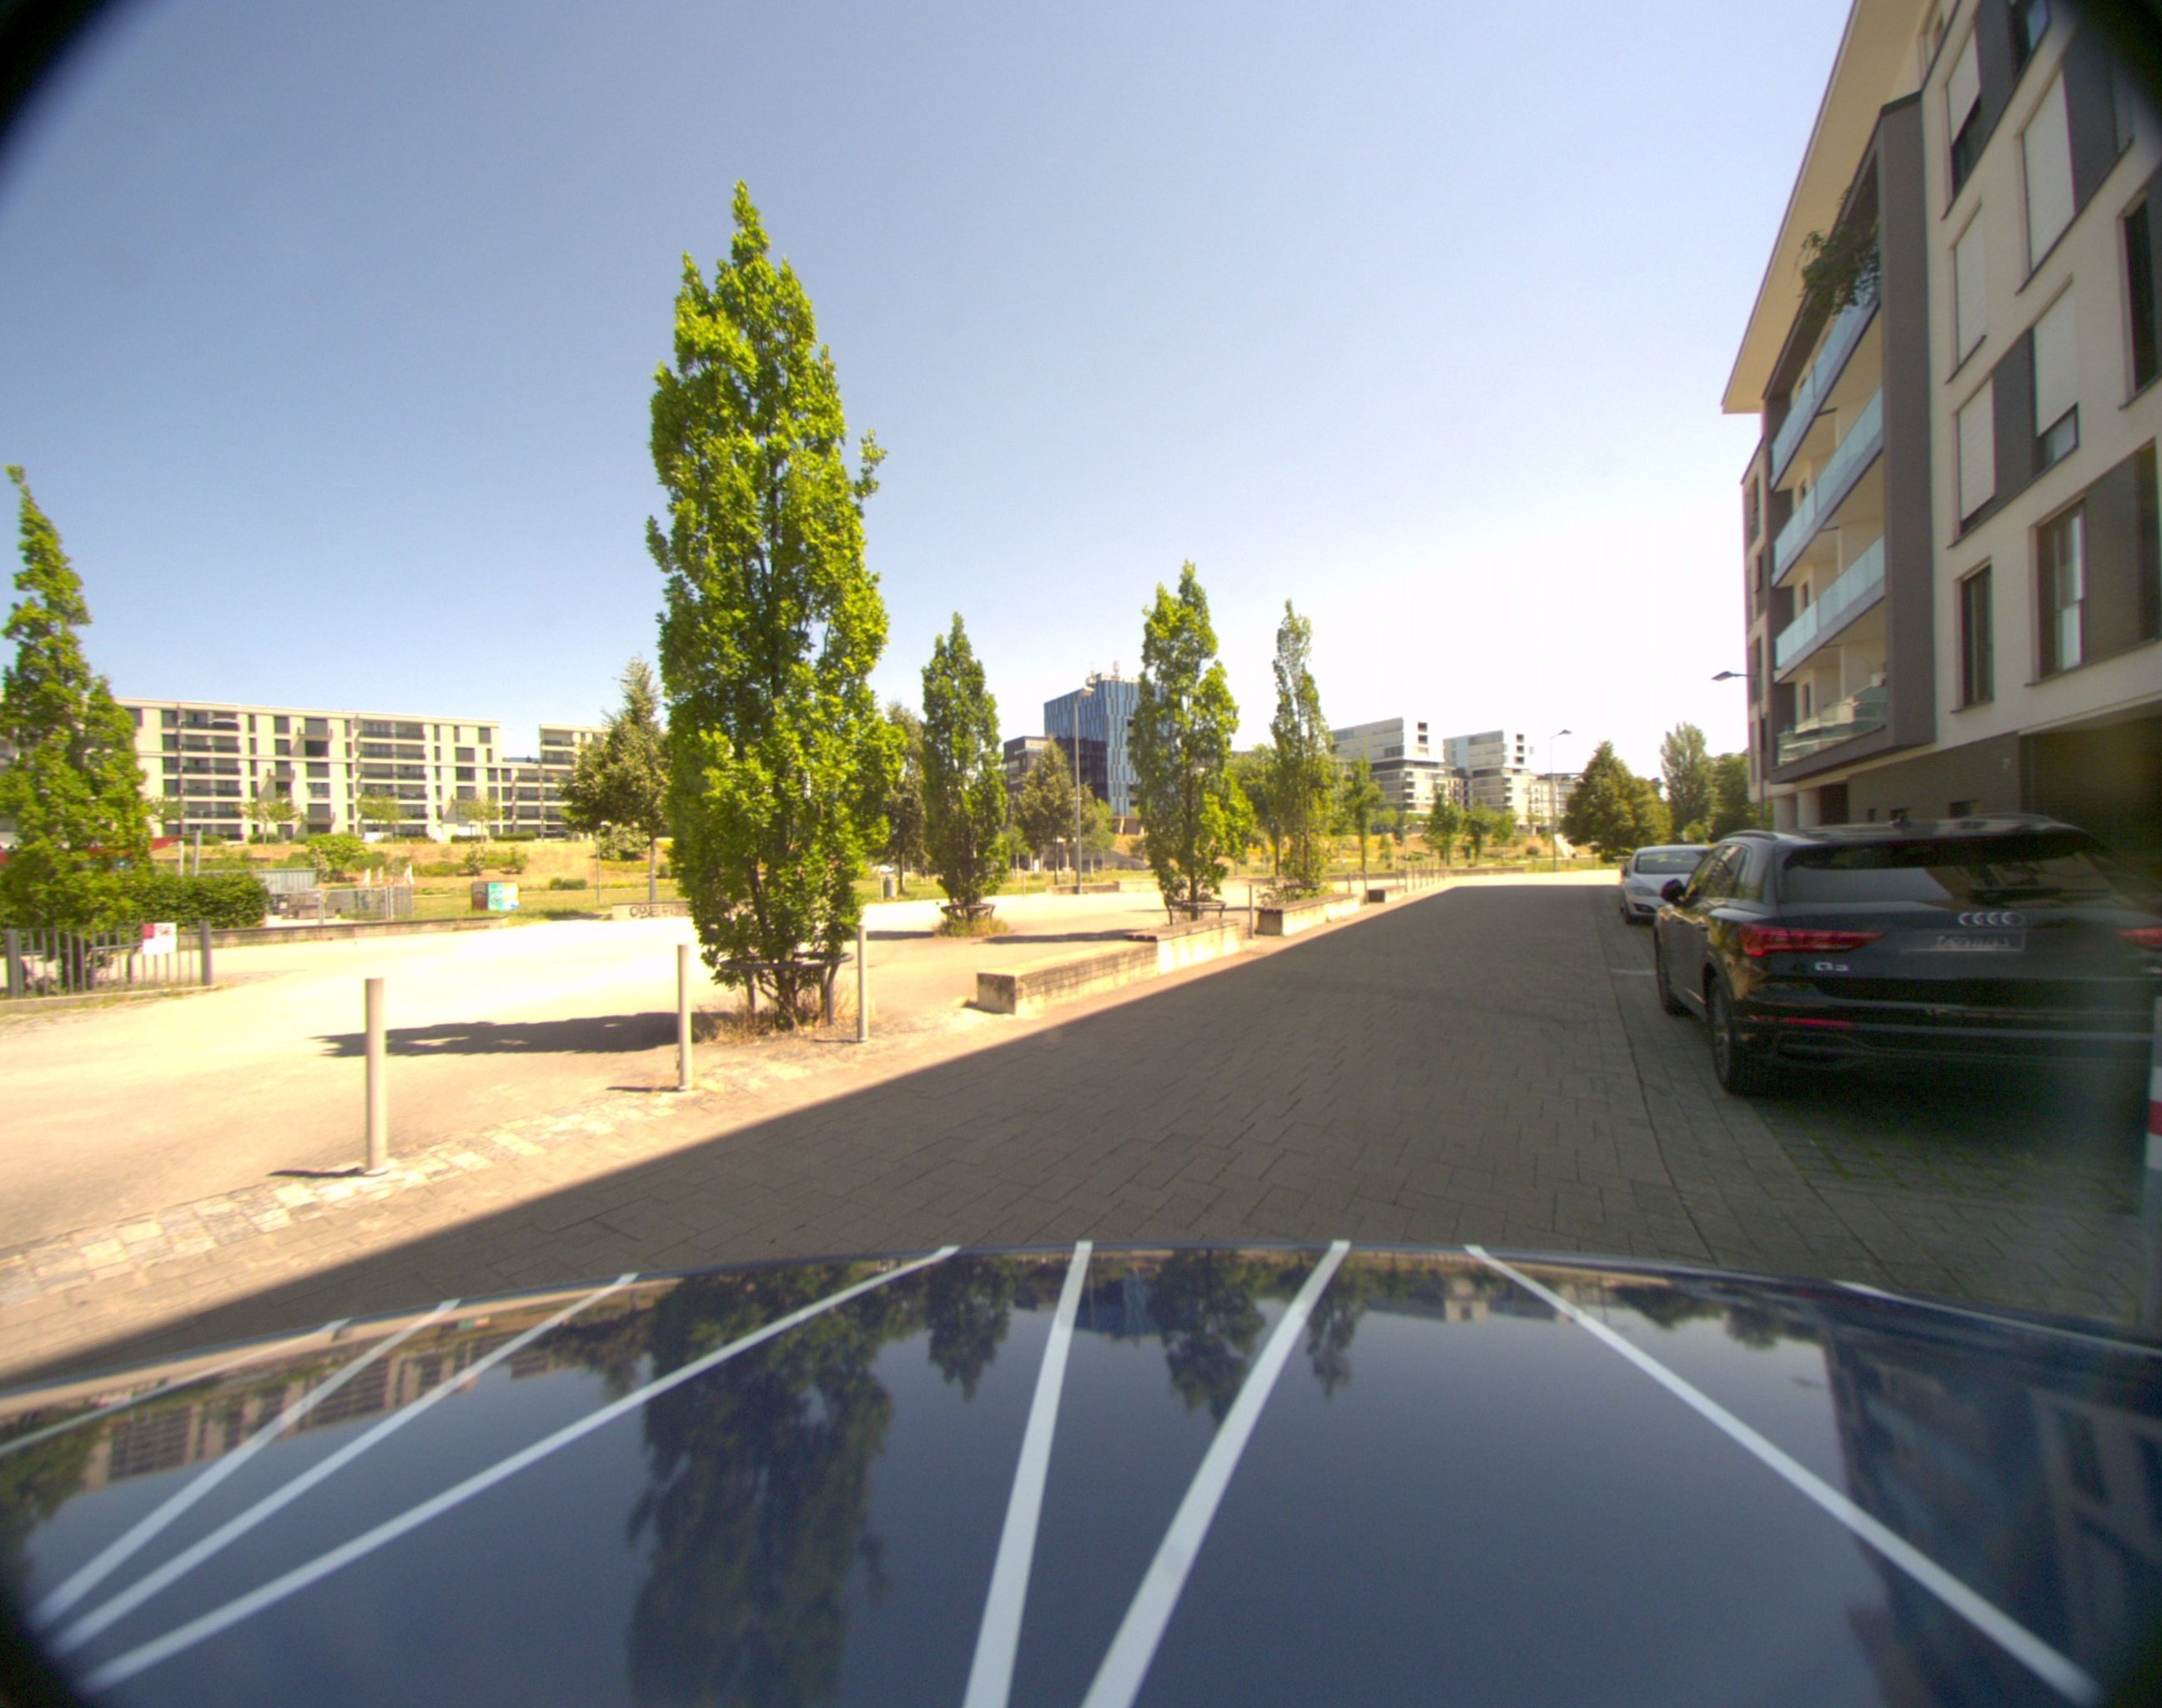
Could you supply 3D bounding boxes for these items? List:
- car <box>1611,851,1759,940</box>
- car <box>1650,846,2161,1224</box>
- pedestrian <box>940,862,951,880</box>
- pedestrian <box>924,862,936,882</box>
[{"bbox_3d":[11.721,0.732,15.010,1.784,1.496,4.123,-3,-1,32],"label":"car"},{"bbox_3d":[5.237,0.751,5.116,1.775,1.510,4.405,-3,-1,31],"label":"car"},{"bbox_3d":[-12.884,1.644,72.231,0.814,1.717,0.616,-1,0,11],"label":"pedestrian"},{"bbox_3d":[-13.087,1.563,65.840,0.814,1.717,0.616,-1,0,11],"label":"pedestrian"}]
